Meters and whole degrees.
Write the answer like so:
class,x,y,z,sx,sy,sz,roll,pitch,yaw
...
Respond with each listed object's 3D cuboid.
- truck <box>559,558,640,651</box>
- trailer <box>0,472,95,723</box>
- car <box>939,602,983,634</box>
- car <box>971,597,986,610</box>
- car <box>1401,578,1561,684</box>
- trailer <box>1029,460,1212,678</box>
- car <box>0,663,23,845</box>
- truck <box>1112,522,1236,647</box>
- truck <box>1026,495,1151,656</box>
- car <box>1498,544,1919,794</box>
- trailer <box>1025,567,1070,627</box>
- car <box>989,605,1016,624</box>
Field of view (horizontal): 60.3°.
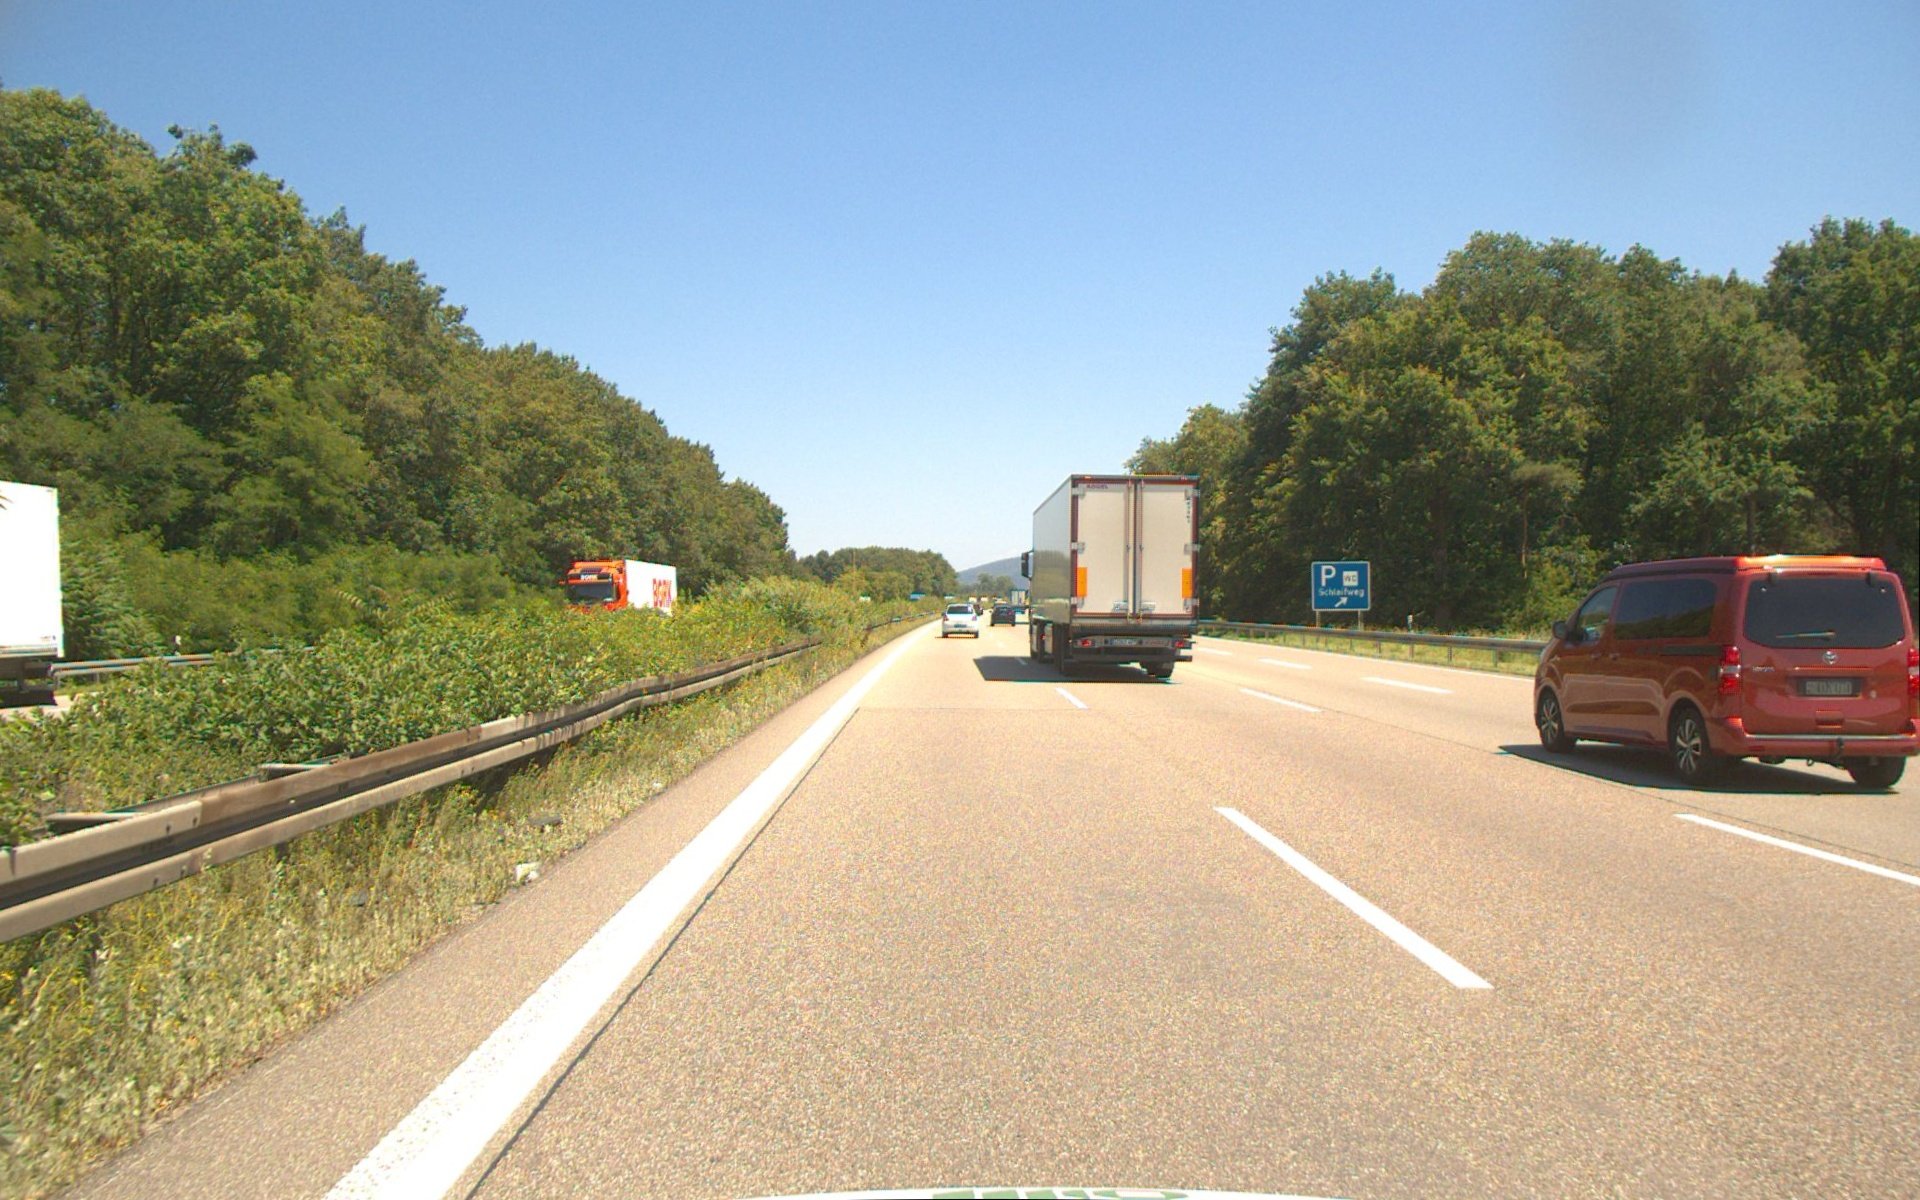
class,x,y,z,sx,sy,sz,roll,pitch,yaw
truck,-16.466,0.210,75.805,2.861,4.121,4.294,0,0,-1
trailer,-17.045,0.002,23.454,2.776,4.104,12.912,-2,0,-1
car,0.029,0.806,75.921,1.775,1.429,3.315,0,0,-4
car,2.792,0.520,246.148,2.064,2.049,3.998,0,0,-2
car,10.601,0.605,33.979,1.953,2.049,3.999,0,0,-1
trailer,3.389,-0.620,38.431,3.157,4.216,12.352,0,0,1
car,-9.045,1.327,12.459,1.734,1.537,3.999,0,0,-1
truck,8.122,-0.552,64.278,3.158,4.421,10.804,0,0,-1
truck,3.481,-0.646,45.996,3.162,4.230,4.560,0,0,1
car,7.213,0.573,16.328,1.818,2.038,5.519,1,0,-2
trailer,7.147,-0.229,136.345,3.116,4.708,12.050,0,0,0
car,3.055,1.042,118.514,1.633,1.312,4.003,0,0,5
